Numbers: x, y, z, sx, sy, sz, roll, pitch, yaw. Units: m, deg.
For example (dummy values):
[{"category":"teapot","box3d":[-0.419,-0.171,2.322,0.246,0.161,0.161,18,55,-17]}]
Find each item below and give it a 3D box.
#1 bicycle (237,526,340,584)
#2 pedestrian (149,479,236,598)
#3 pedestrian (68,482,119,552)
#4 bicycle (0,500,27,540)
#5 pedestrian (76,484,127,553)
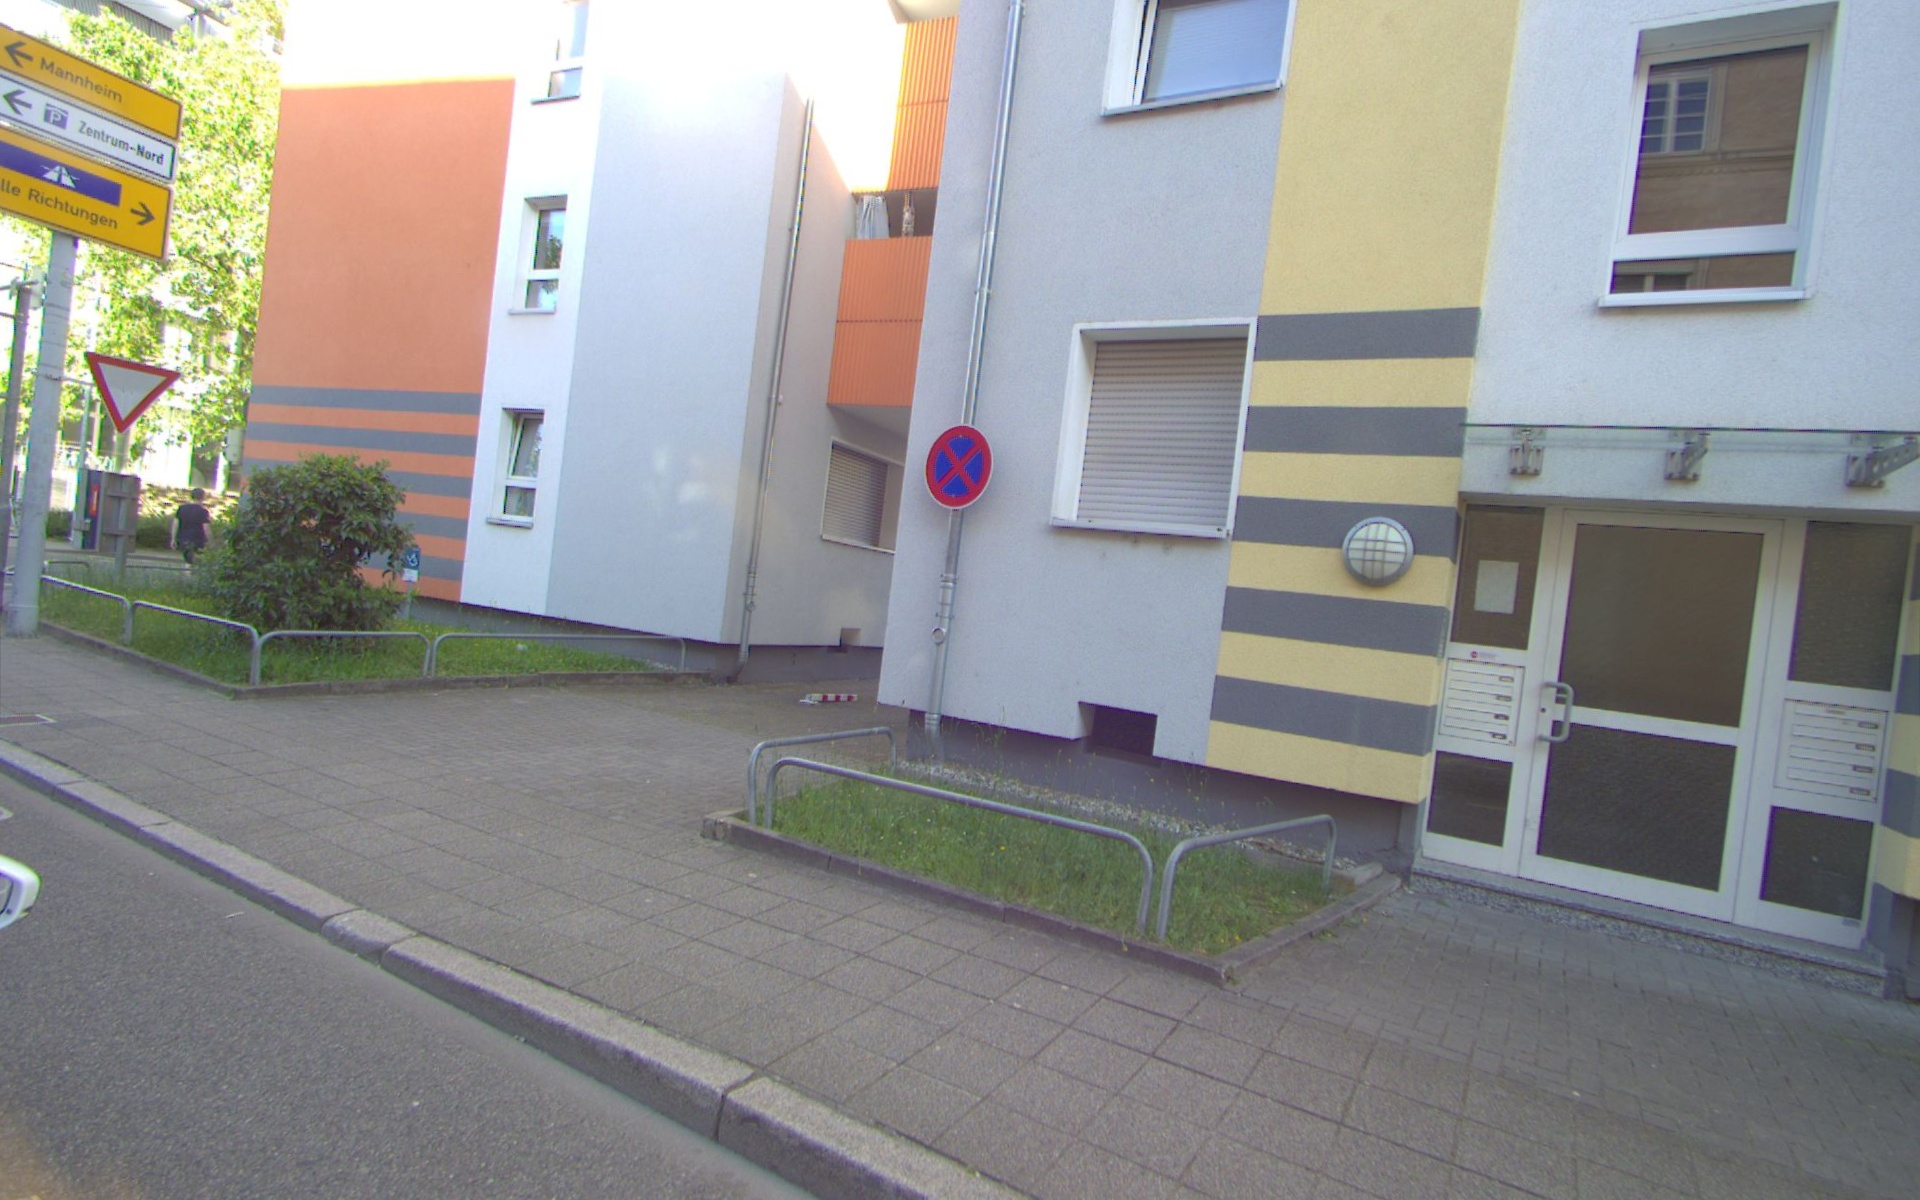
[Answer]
[{"category":"bicycle","box3d":[-16.619,-1.097,24.950,0.583,1.166,1.963,7,0,37]},{"category":"pedestrian","box3d":[-12.690,-0.997,16.660,0.689,1.831,0.719,7,-1,-6]},{"category":"pedestrian","box3d":[-24.098,-2.311,27.981,0.637,1.816,0.766,6,-1,34]},{"category":"bicycle","box3d":[-26.379,-2.244,27.379,1.409,1.021,0.379,7,1,-11]},{"category":"pedestrian","box3d":[-23.543,-2.235,27.578,0.637,1.739,0.766,6,-1,34]}]
